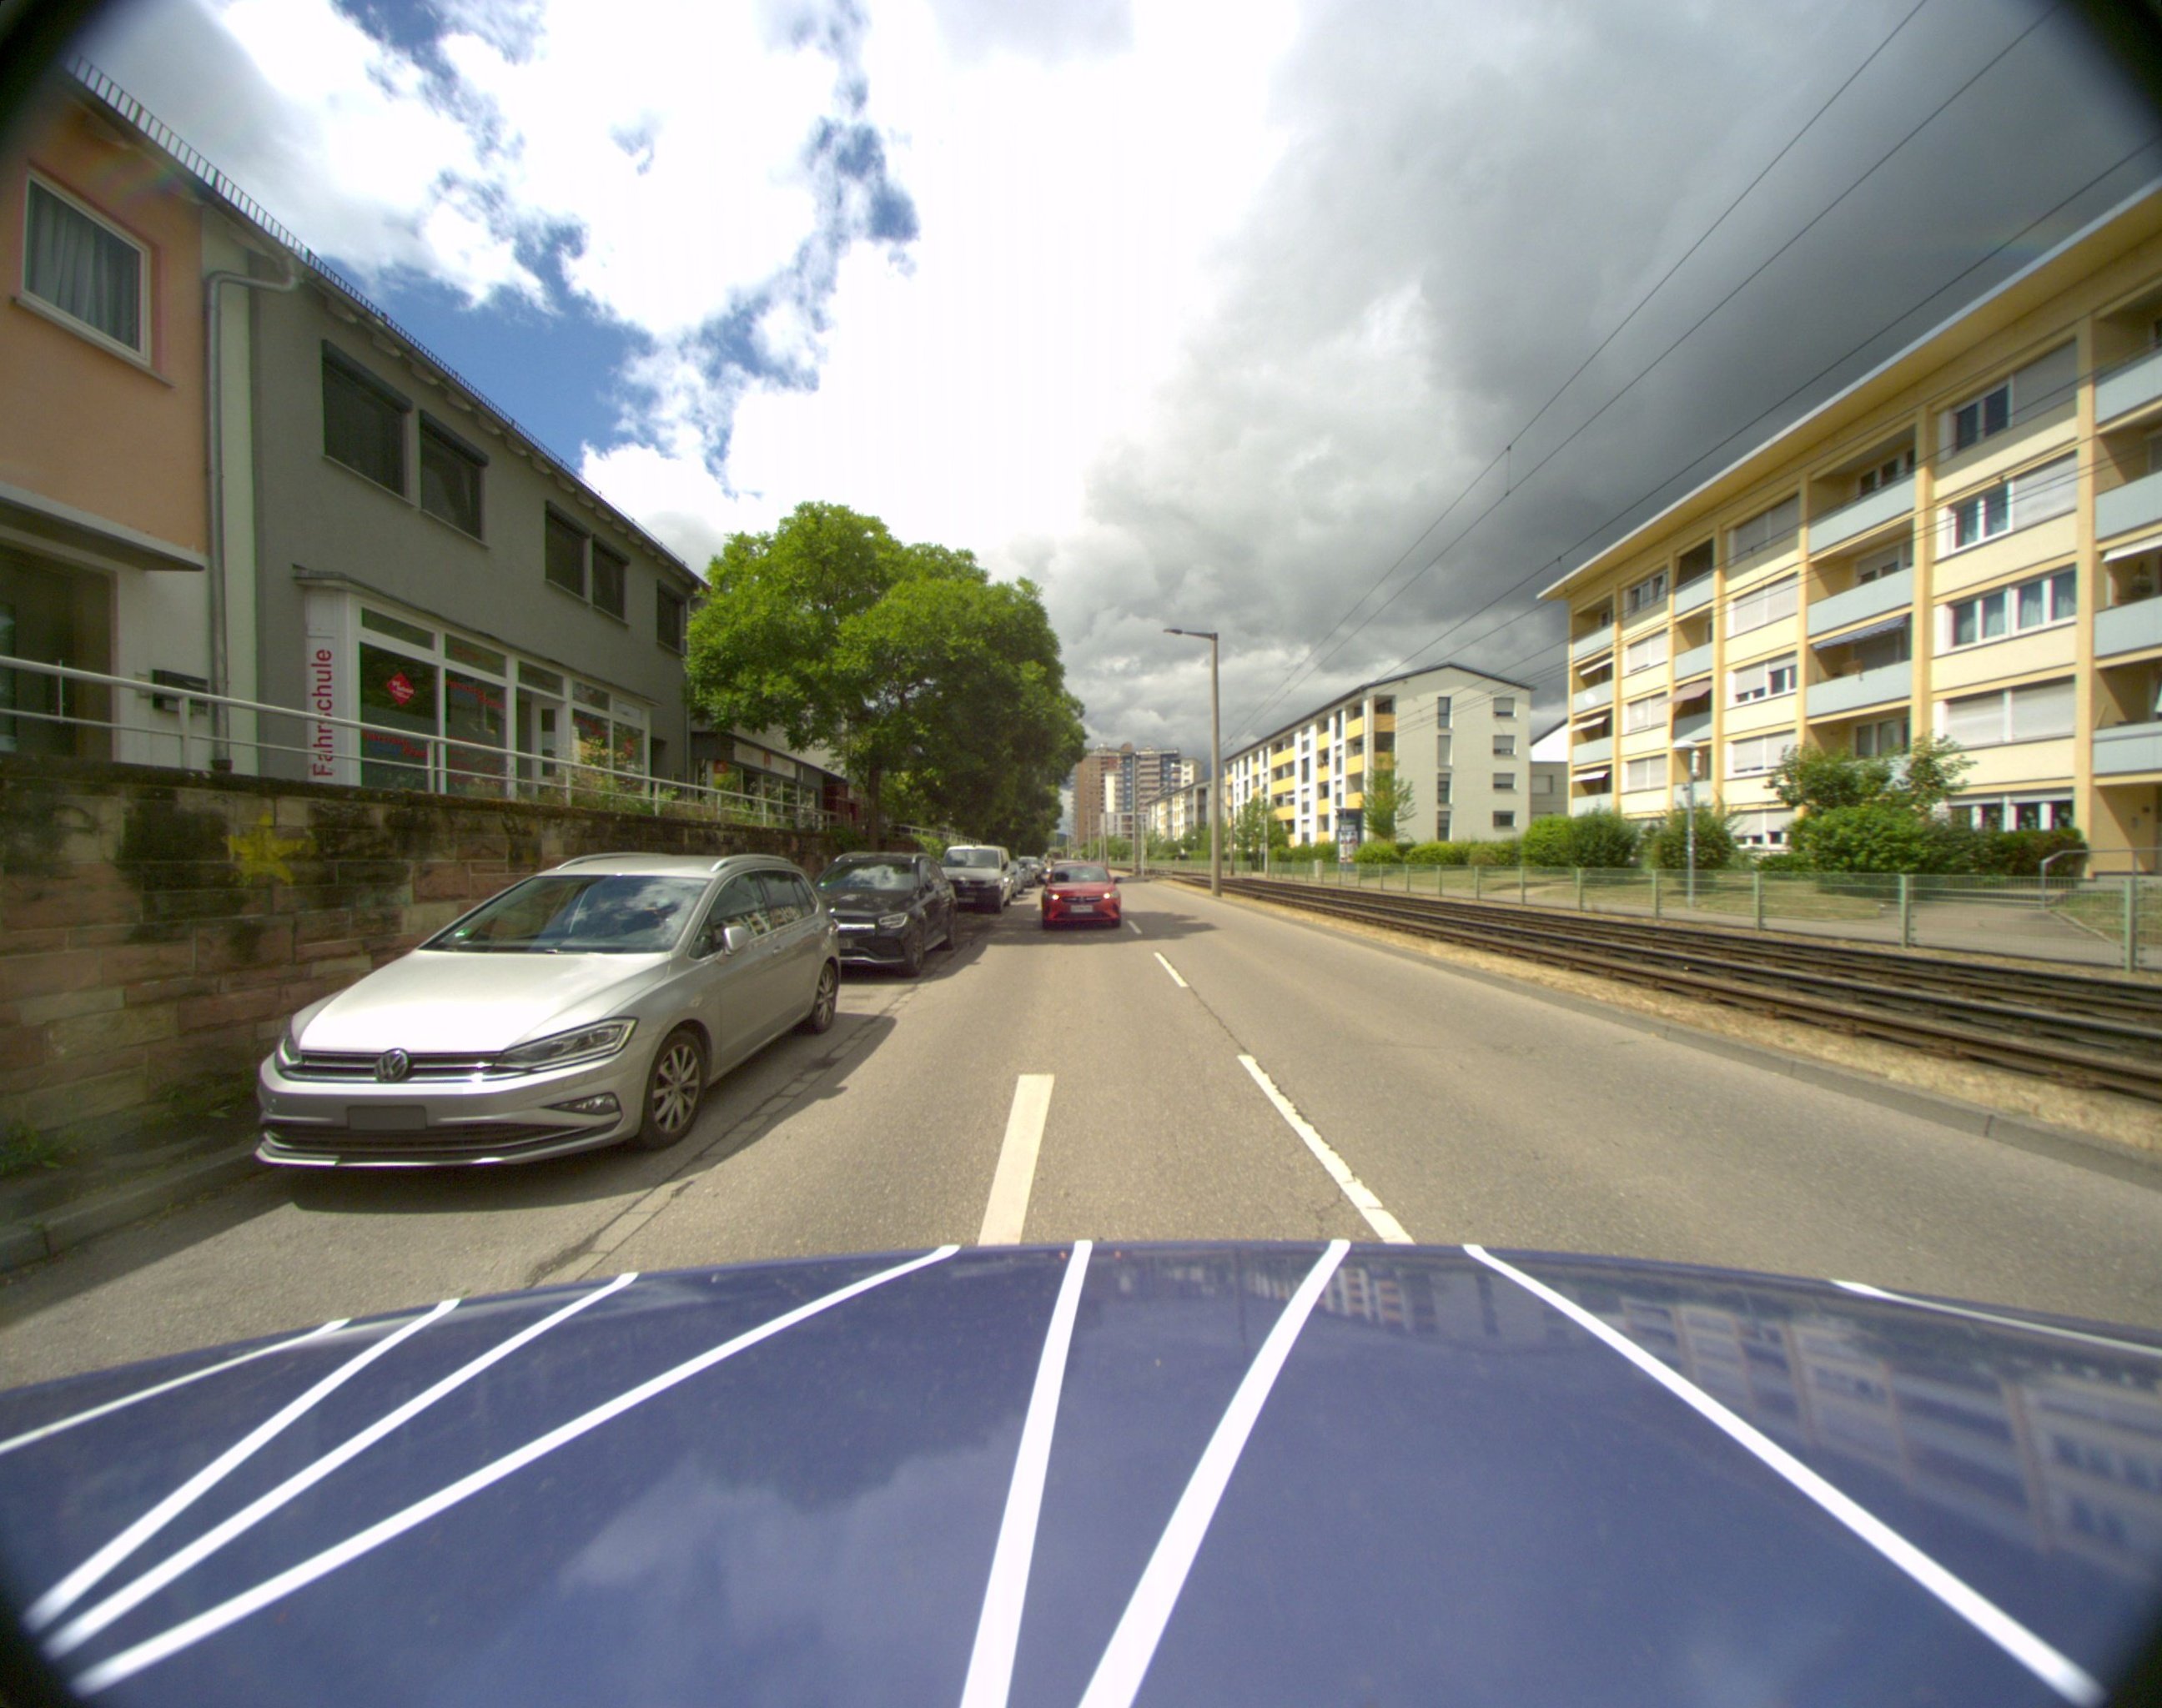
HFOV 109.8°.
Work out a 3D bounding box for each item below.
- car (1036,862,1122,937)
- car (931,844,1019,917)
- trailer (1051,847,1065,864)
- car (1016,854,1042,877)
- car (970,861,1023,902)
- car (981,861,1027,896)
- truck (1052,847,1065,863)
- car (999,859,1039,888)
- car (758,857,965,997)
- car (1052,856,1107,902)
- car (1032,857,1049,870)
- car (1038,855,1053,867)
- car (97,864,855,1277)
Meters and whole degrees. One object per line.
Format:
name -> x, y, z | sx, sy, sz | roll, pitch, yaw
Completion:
car -> -0.011, 0.959, 17.611 | 1.723, 1.434, 4.000 | -2, 0, 1
car -> -3.087, 0.723, 23.194 | 1.978, 1.958, 5.013 | -1, 0, 0
trailer -> -5.063, 0.234, 167.711 | 2.875, 3.428, 14.612 | -3, 0, -2
car -> -3.815, 0.805, 56.609 | 1.819, 1.643, 4.146 | -1, 0, -3
car -> -3.163, 1.005, 29.008 | 1.578, 1.420, 3.734 | -1, 0, 0
car -> -3.394, 1.040, 34.109 | 1.785, 1.420, 4.144 | -1, 0, -3
truck -> -5.289, 0.228, 175.993 | 2.852, 3.428, 4.414 | -3, 0, -2
car -> -3.294, 1.011, 41.214 | 1.785, 1.420, 4.147 | -1, 0, 0
car -> -2.963, 0.885, 11.295 | 1.794, 1.608, 4.447 | 1, 0, -1
car -> -0.114, 0.905, 29.277 | 1.927, 1.543, 3.999 | -3, 0, -2
car -> -4.771, 1.101, 89.948 | 1.785, 1.420, 4.147 | -1, 0, 0
car -> -4.558, 0.907, 97.491 | 1.785, 1.420, 4.147 | -1, 0, 0
car -> -3.063, 0.905, 5.185 | 1.794, 1.608, 4.248 | 0, 0, -1
